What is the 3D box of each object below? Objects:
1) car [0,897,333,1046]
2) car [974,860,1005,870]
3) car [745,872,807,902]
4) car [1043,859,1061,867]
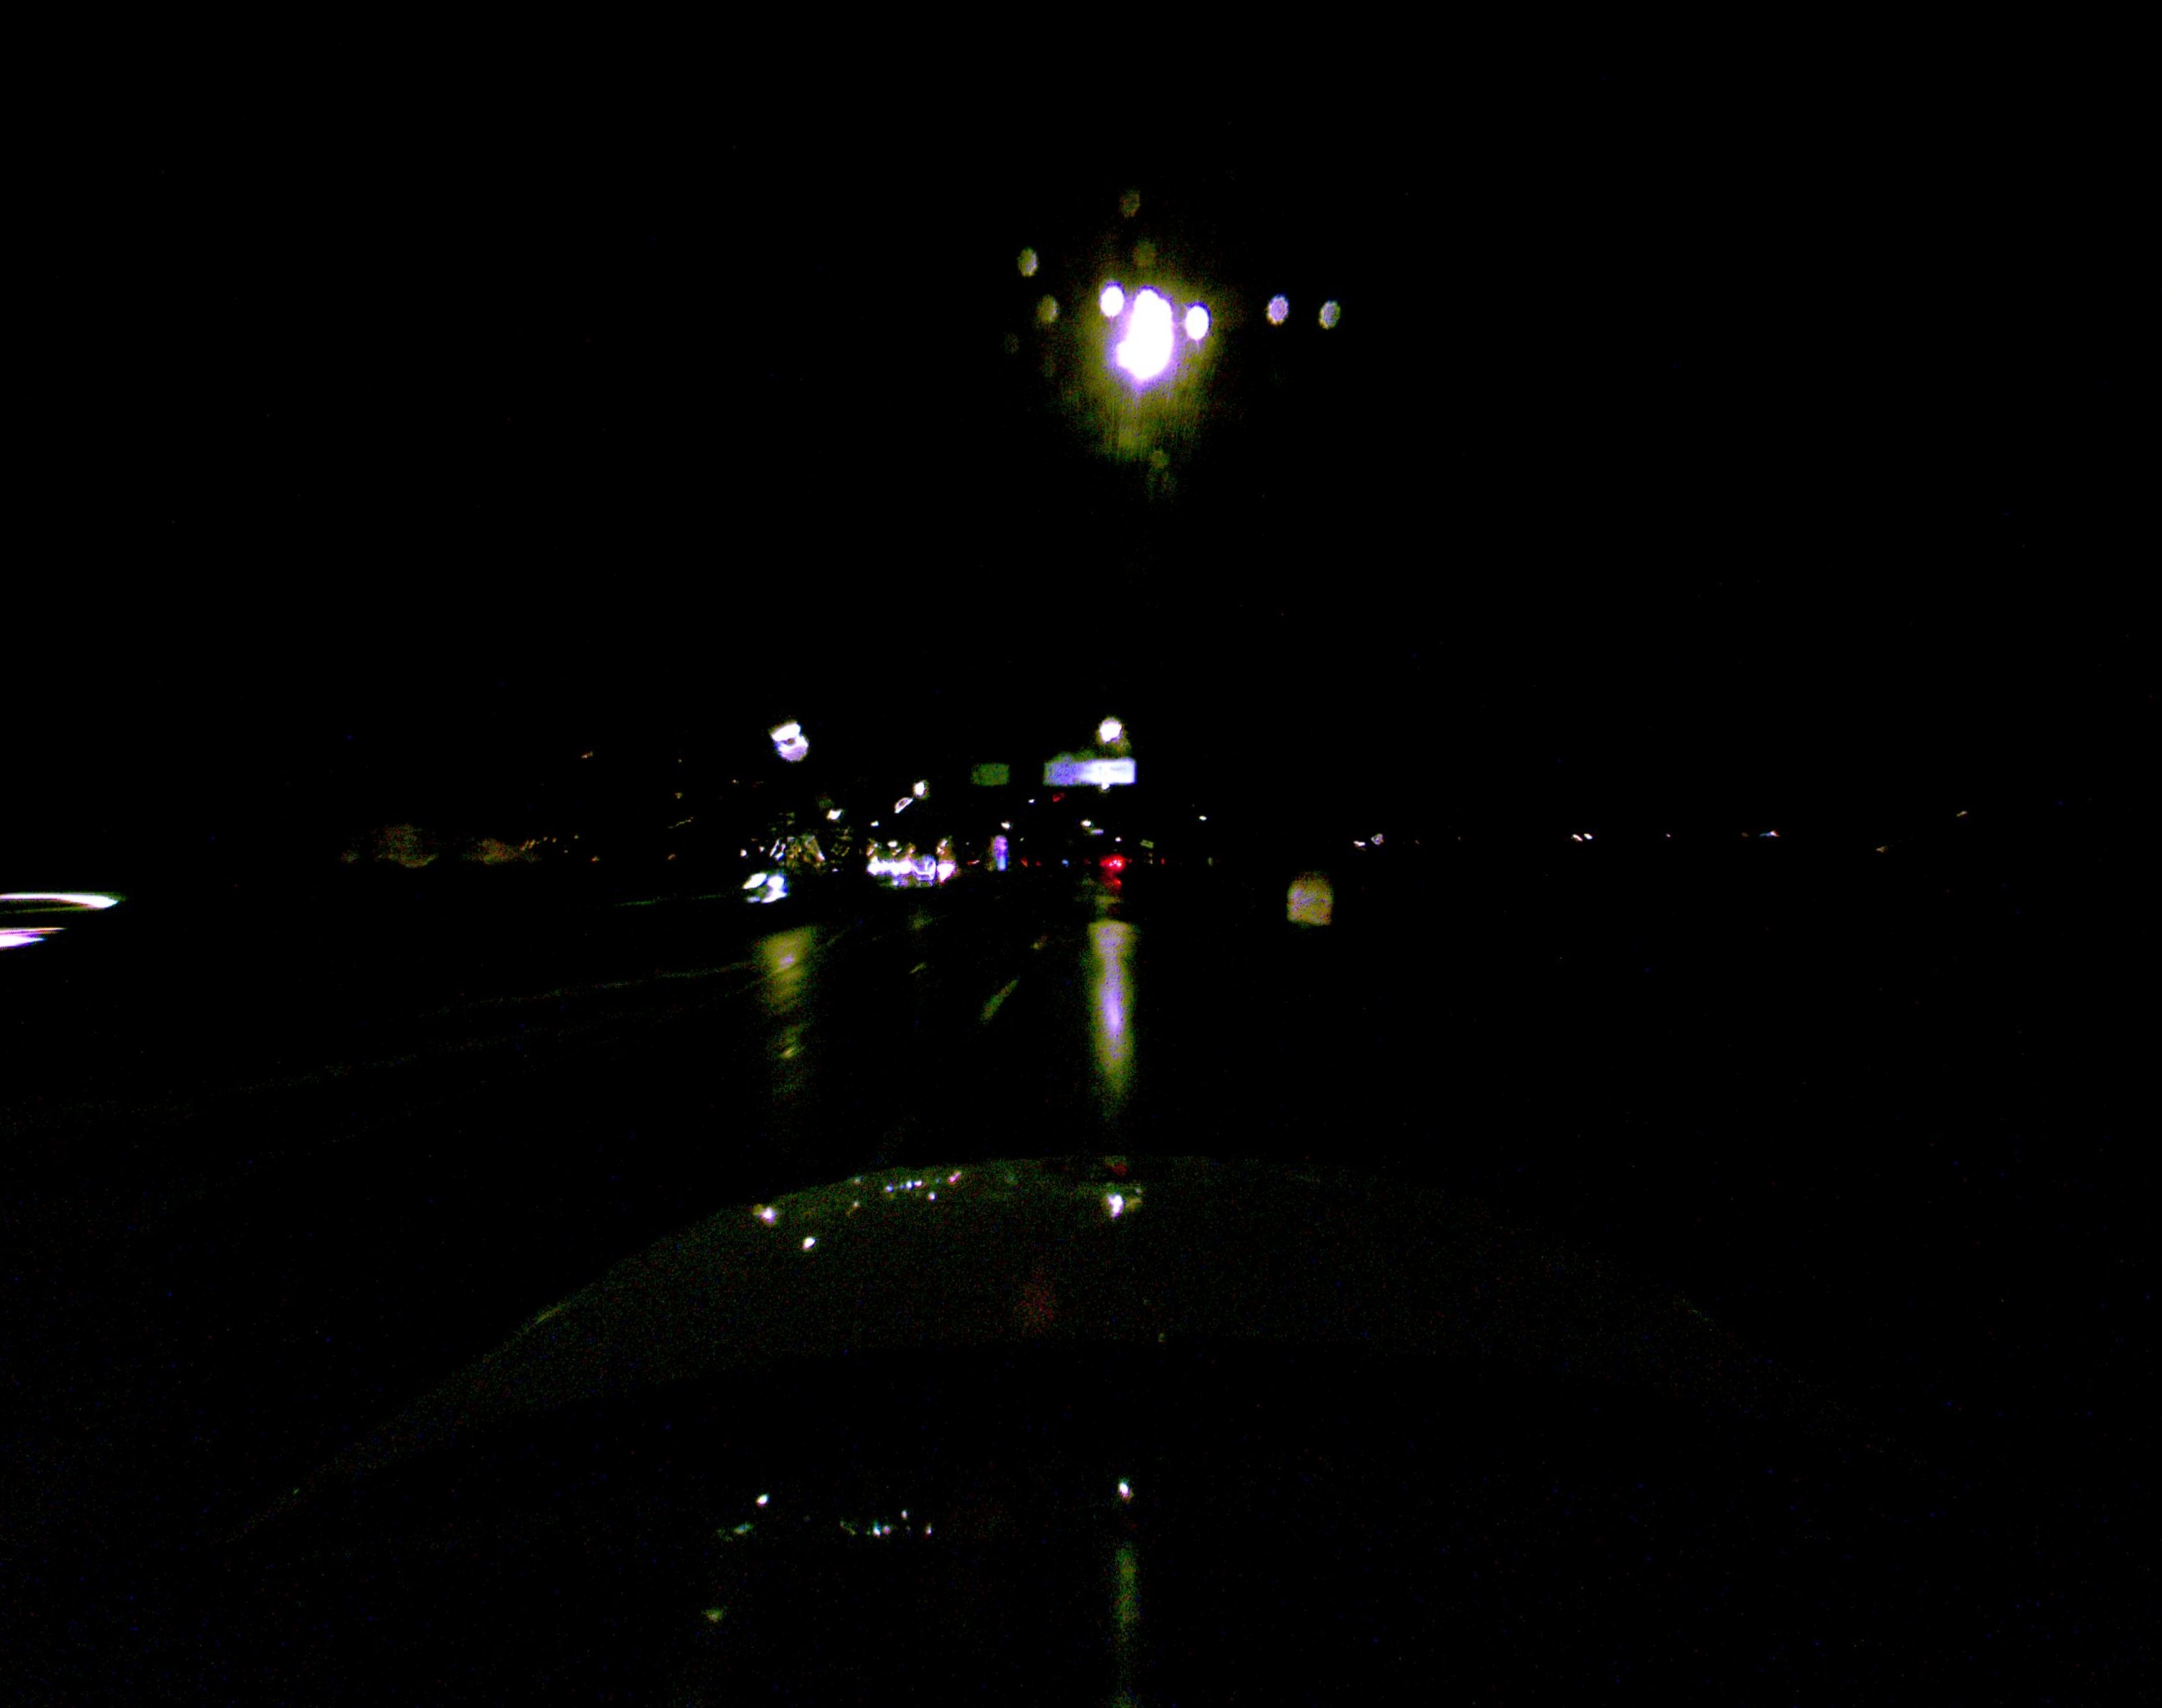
[{"bbox_3d":[-12.977,1.417,10.860,1.836,1.486,4.368,0,0,2],"label":"car"},{"bbox_3d":[-20.312,2.442,181.271,6.321,2.089,2.496,0,0,-24],"label":"car"},{"bbox_3d":[-18.449,1.959,49.479,2.017,1.684,4.548,0,0,1],"label":"car"},{"bbox_3d":[-6.563,2.010,182.966,3.941,1.579,1.736,0,0,-2],"label":"car"}]
